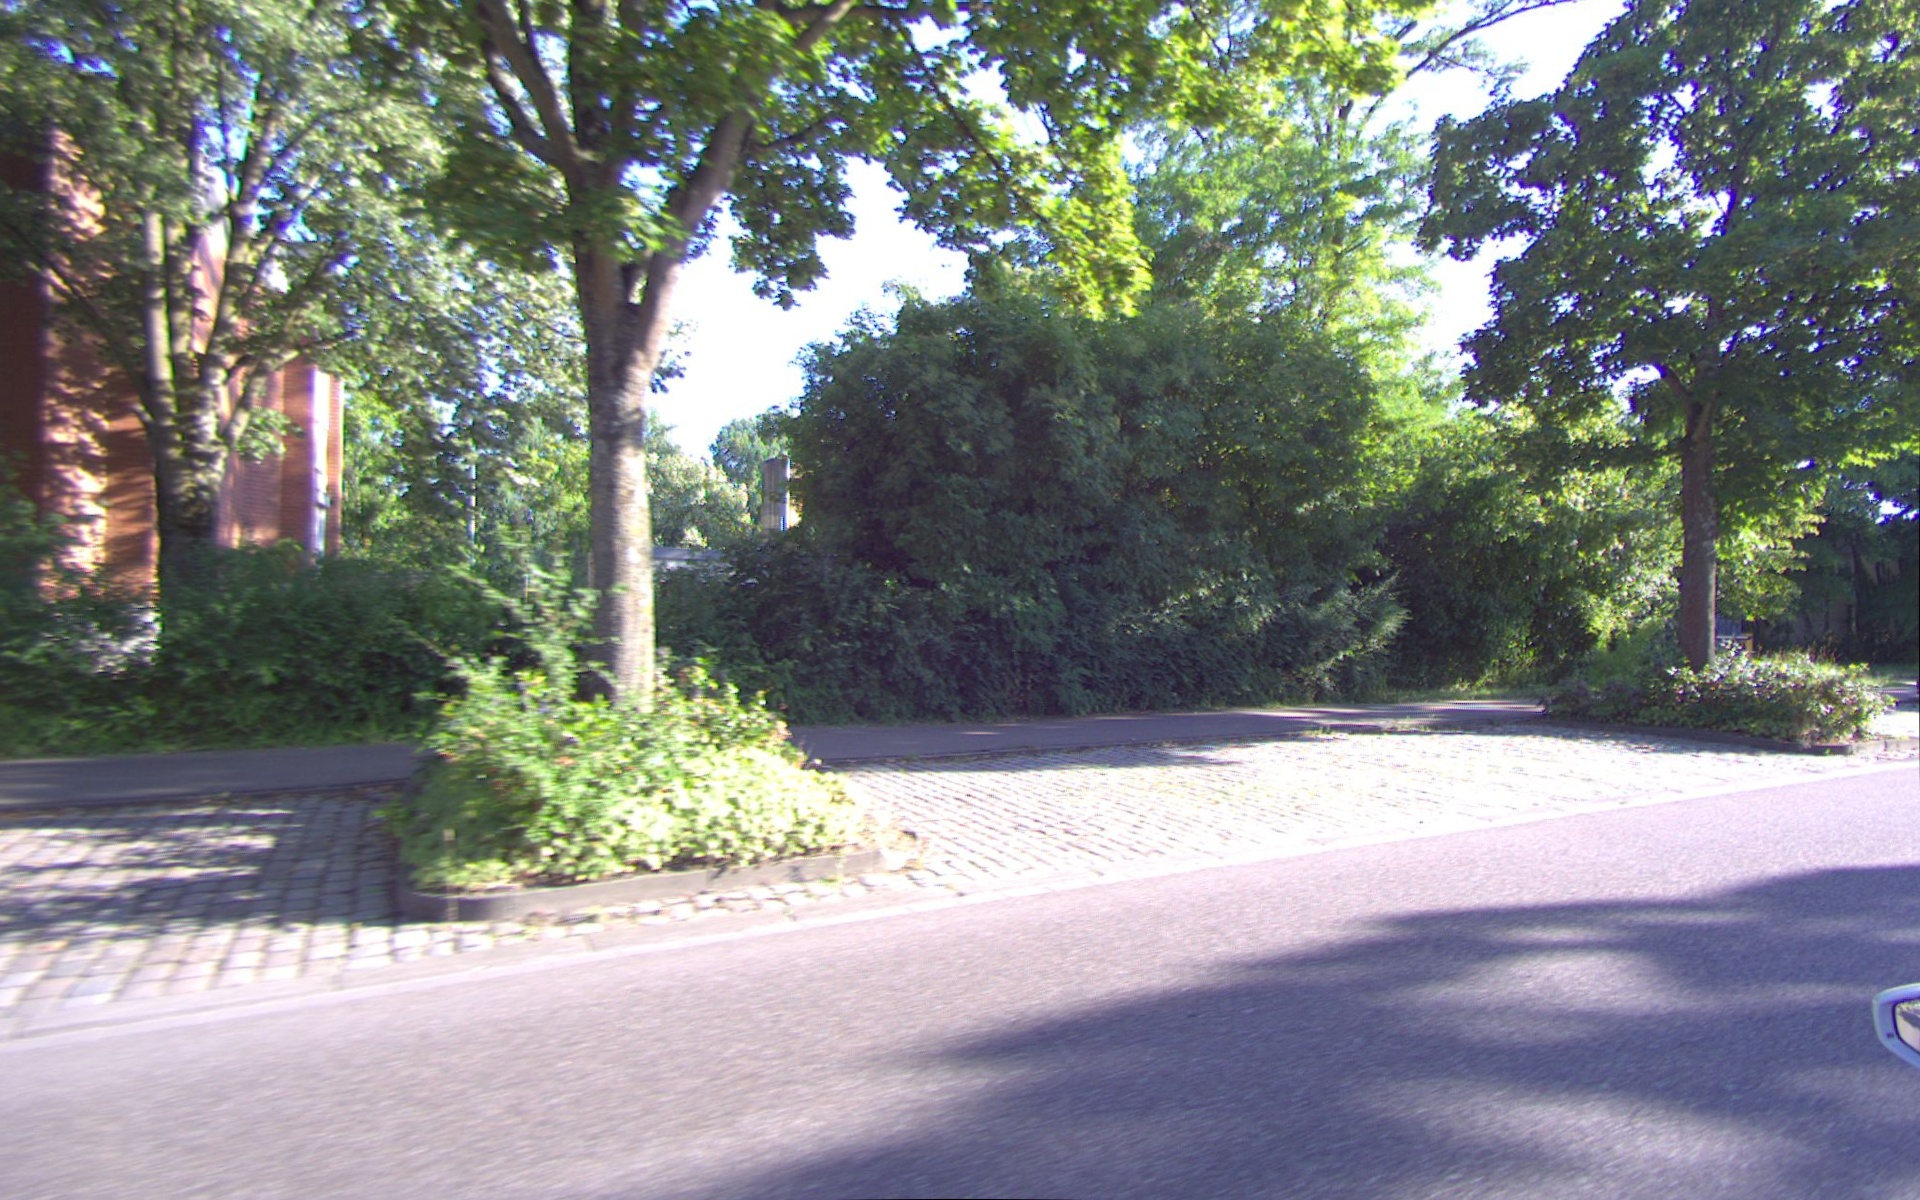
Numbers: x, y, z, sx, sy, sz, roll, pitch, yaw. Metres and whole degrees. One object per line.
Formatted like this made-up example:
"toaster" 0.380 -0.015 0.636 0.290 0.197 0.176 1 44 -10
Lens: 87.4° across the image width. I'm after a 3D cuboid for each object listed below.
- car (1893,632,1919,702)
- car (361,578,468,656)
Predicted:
"car" 22.456 1.504 20.691 1.975 1.499 4.341 1 1 -28
"car" -13.948 0.461 25.914 1.758 1.840 3.983 1 -1 -19
